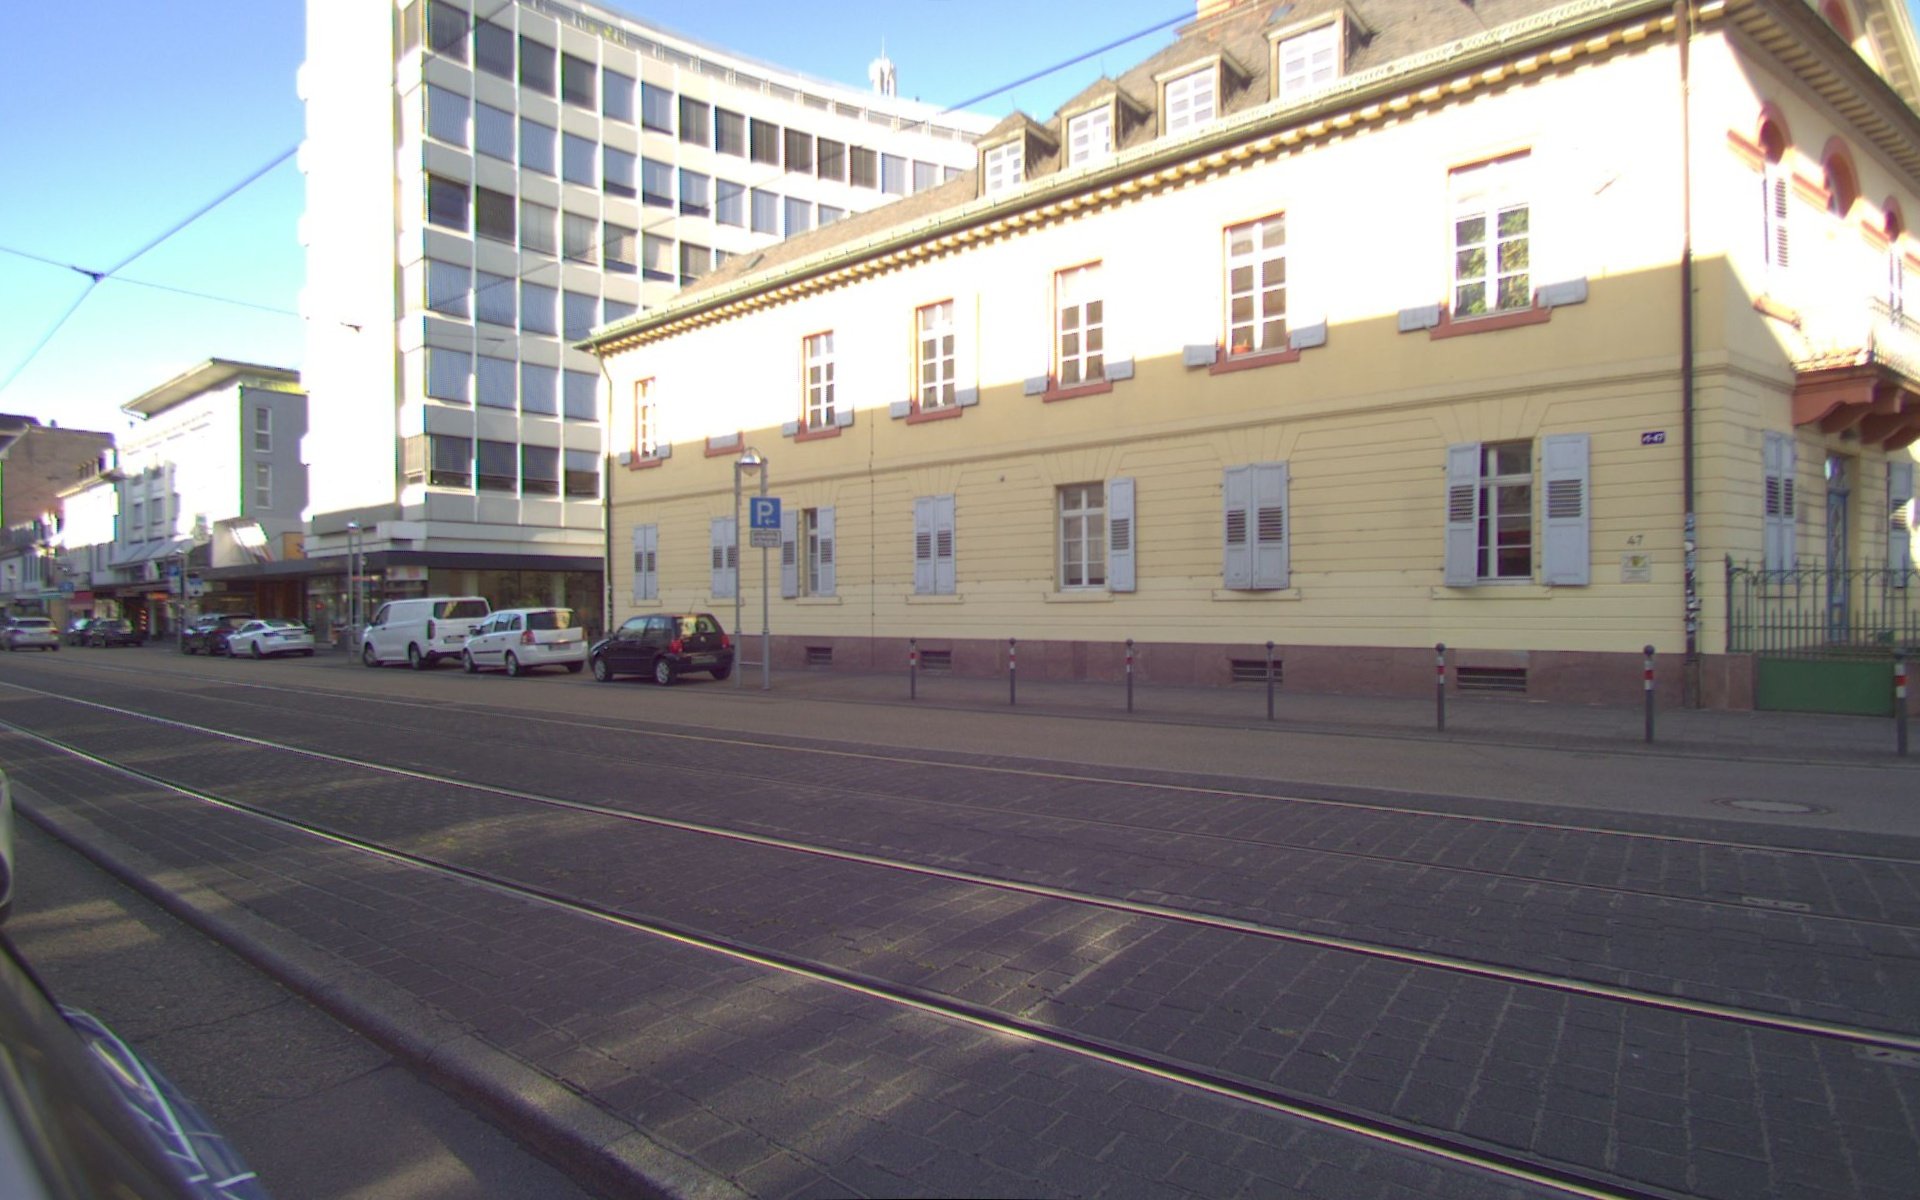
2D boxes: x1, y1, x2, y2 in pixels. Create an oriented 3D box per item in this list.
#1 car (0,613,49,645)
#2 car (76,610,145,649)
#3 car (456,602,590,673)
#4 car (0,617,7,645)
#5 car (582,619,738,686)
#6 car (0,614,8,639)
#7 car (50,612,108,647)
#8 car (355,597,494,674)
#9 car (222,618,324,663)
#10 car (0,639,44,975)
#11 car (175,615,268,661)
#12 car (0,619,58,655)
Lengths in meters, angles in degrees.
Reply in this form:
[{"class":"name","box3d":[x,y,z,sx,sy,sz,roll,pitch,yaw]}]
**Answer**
[{"class":"car","box3d":[-63.180,1.941,68.150,3.996,2.058,2.172,-1,-1,39]},{"class":"car","box3d":[-43.853,1.494,52.221,3.995,1.874,1.974,-1,0,38]},{"class":"car","box3d":[-11.016,0.893,25.374,4.005,1.621,1.619,-1,0,43]},{"class":"car","box3d":[-71.375,2.299,74.116,3.998,2.029,1.973,-1,-1,41]},{"class":"car","box3d":[-6.401,1.065,21.472,3.210,1.263,1.667,-1,0,39]},{"class":"car","box3d":[-78.804,2.132,81.885,3.995,2.029,1.974,-1,0,38]},{"class":"car","box3d":[-50.257,1.669,57.708,3.995,1.896,1.768,-1,-1,38]},{"class":"car","box3d":[-15.362,0.972,28.953,4.619,2.029,2.014,-1,-1,41]},{"class":"car","box3d":[-25.602,1.447,37.670,4.369,1.541,1.974,-1,0,39]},{"class":"car","box3d":[-6.102,0.902,4.790,3.992,1.393,1.862,-1,0,36]},{"class":"car","box3d":[-29.918,1.494,40.968,4.103,1.717,1.975,-1,0,38]},{"class":"car","box3d":[-43.735,1.719,47.277,3.994,1.609,1.739,-1,-1,38]}]
